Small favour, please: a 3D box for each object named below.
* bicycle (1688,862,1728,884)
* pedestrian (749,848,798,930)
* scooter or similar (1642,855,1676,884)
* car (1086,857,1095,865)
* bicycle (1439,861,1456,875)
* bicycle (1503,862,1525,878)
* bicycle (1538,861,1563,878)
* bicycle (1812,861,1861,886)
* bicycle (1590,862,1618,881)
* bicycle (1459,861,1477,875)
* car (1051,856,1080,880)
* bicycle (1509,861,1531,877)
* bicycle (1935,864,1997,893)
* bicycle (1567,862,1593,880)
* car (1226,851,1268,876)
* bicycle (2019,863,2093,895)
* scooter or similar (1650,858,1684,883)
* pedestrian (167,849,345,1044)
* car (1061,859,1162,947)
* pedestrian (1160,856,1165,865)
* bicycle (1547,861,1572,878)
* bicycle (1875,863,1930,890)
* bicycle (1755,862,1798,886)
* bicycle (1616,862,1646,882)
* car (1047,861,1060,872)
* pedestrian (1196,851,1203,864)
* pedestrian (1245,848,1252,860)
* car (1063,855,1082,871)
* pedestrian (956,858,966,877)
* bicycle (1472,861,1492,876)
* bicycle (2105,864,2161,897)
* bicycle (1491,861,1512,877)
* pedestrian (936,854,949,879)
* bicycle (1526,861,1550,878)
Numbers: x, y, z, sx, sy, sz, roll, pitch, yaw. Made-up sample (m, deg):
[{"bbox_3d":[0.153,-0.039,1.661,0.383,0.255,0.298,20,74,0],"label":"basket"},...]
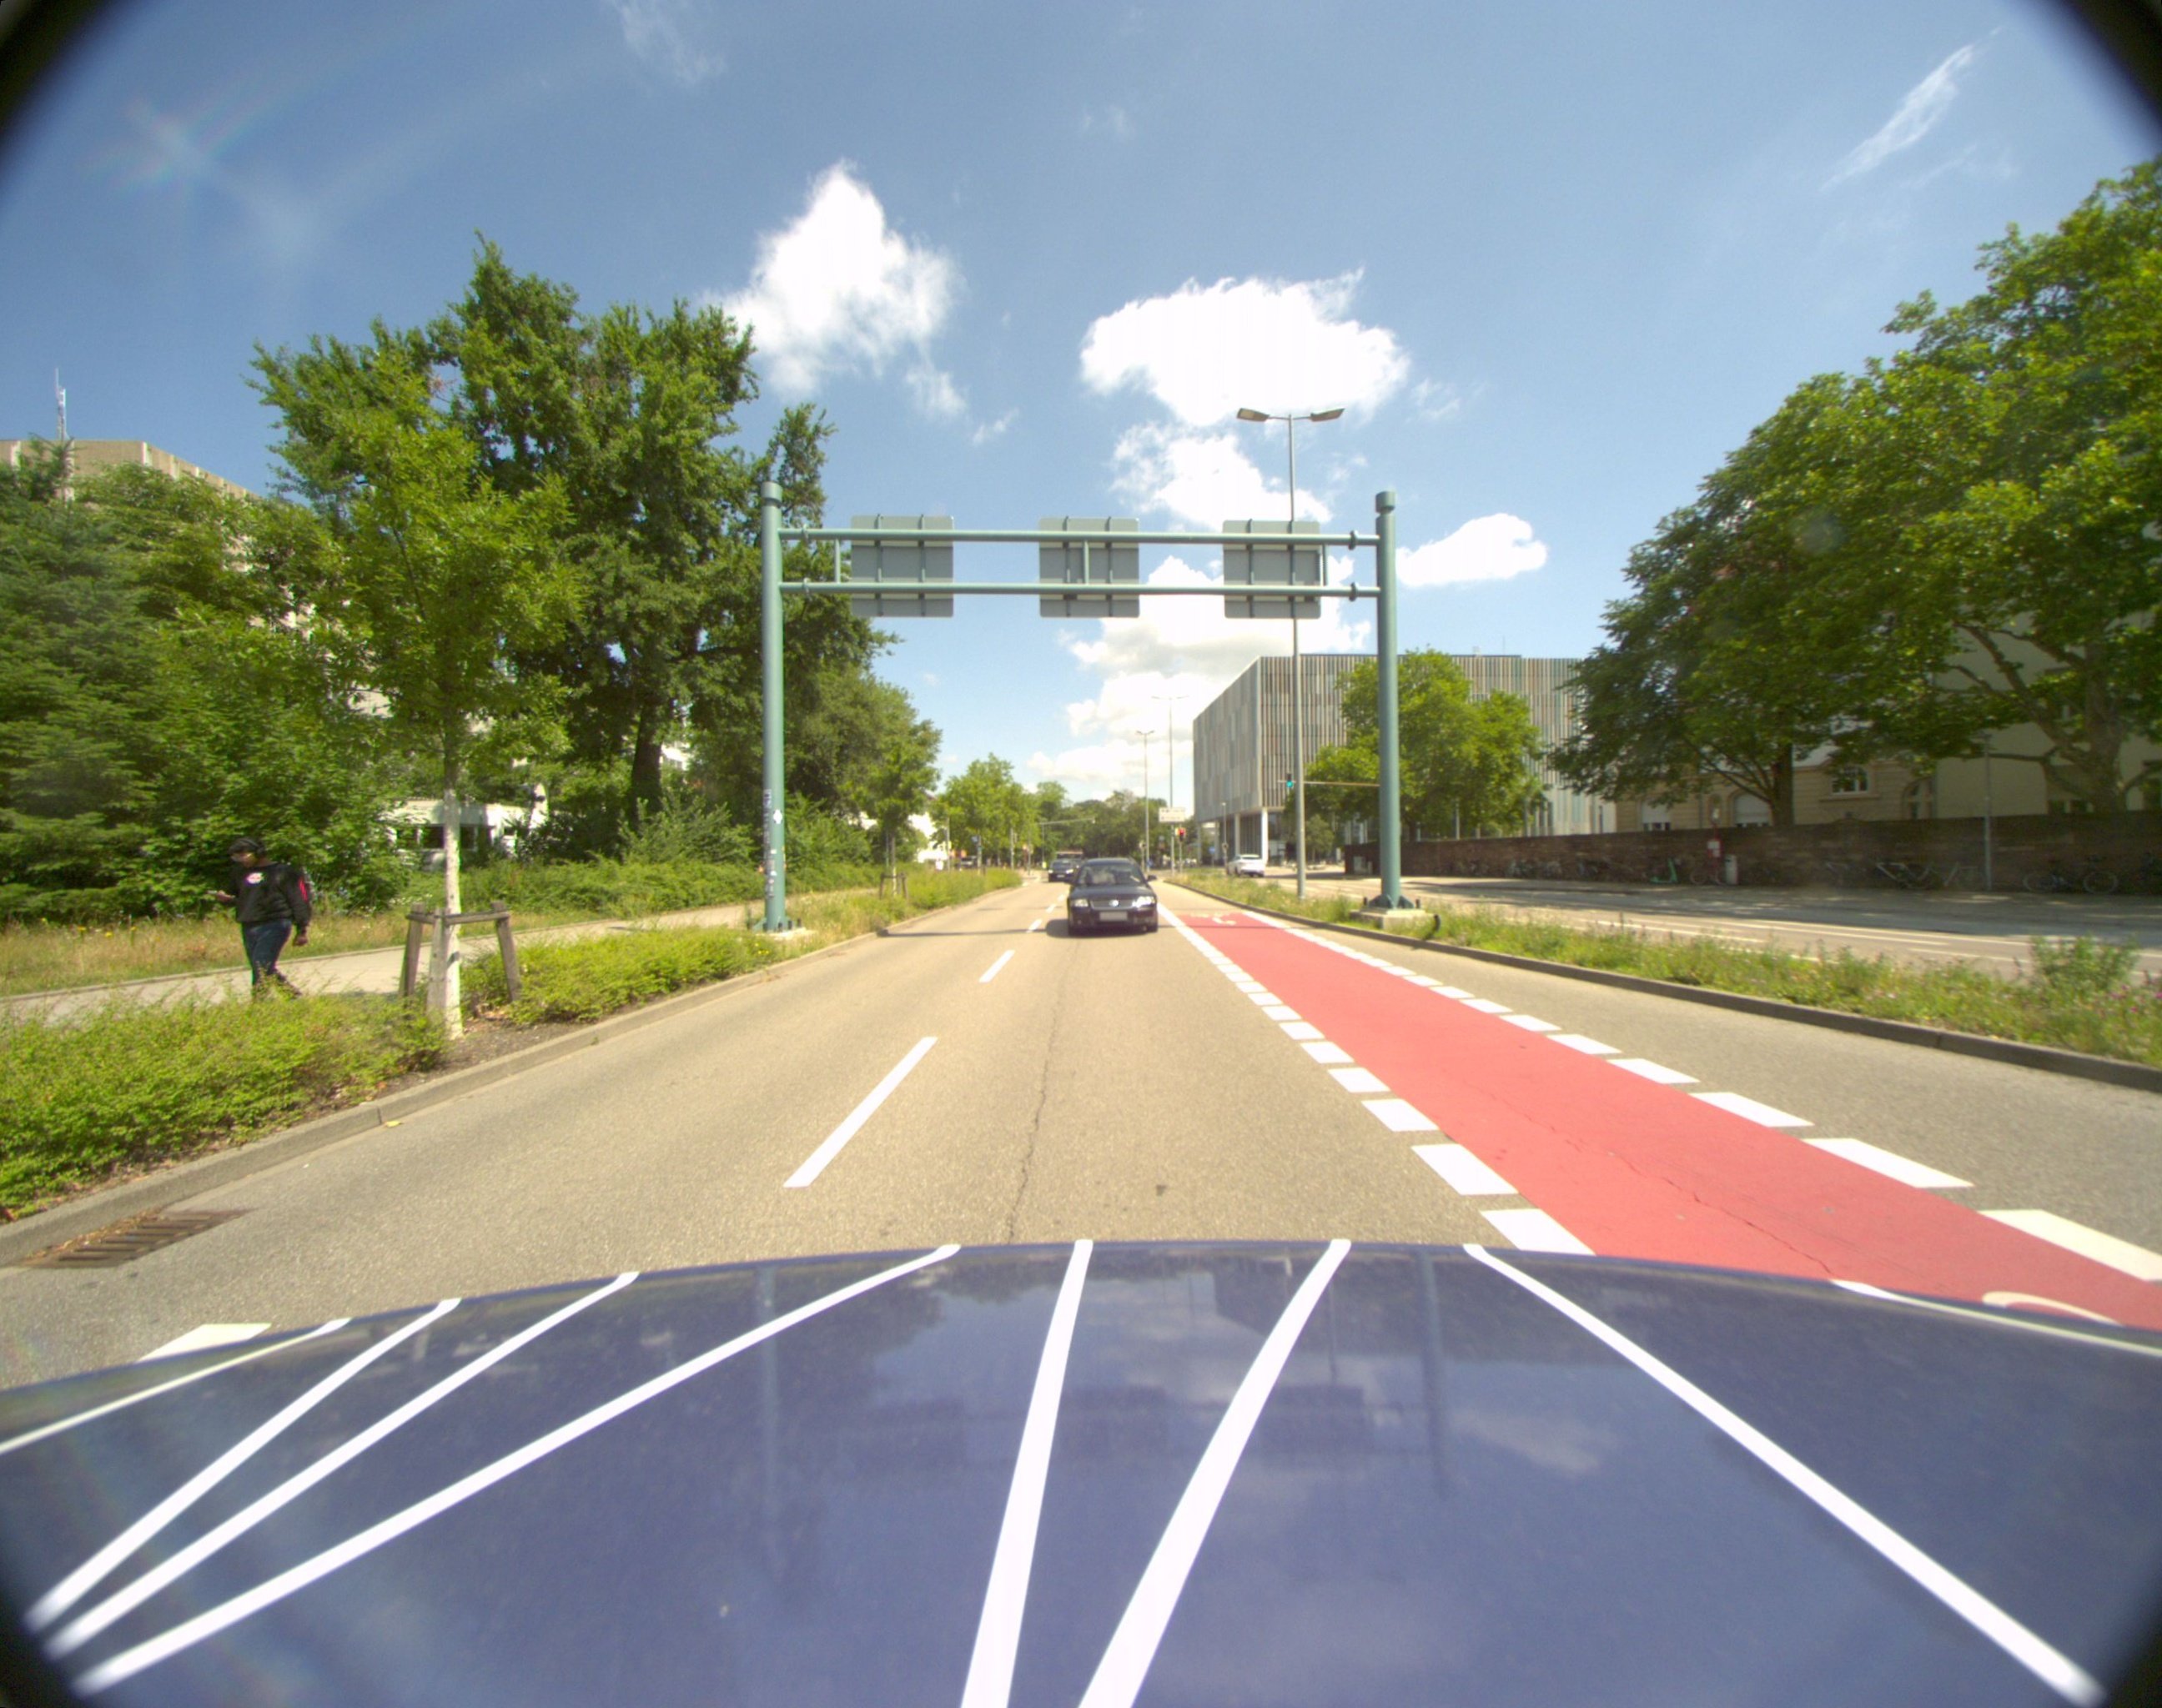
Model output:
[{"bbox_3d":[24.809,0.746,30.088,0.265,0.826,1.233,-1,0,-21],"label":"bicycle"},{"bbox_3d":[-6.753,0.746,16.726,0.639,1.754,0.887,-1,0,7],"label":"pedestrian"},{"bbox_3d":[23.796,0.629,31.299,0.265,1.182,1.234,-1,0,-11],"label":"scooter or similar"},{"bbox_3d":[1.968,1.365,153.339,1.723,1.545,4.594,-3,0,1],"label":"car"},{"bbox_3d":[22.478,0.851,46.656,0.265,0.826,1.235,-1,0,-11],"label":"bicycle"},{"bbox_3d":[22.842,0.817,40.091,0.265,0.826,1.234,-1,0,-11],"label":"bicycle"},{"bbox_3d":[23.175,0.756,37.533,0.265,0.826,1.234,-1,0,-11],"label":"bicycle"},{"bbox_3d":[25.699,0.650,25.863,0.265,0.826,1.235,-1,0,-11],"label":"bicycle"},{"bbox_3d":[24.011,0.790,34.921,0.265,0.826,1.235,-1,0,-11],"label":"bicycle"},{"bbox_3d":[22.796,0.831,44.761,0.265,0.826,1.235,-1,0,-11],"label":"bicycle"},{"bbox_3d":[-1.082,0.973,53.913,1.816,1.598,4.479,-3,0,1],"label":"car"},{"bbox_3d":[23.349,0.797,40.415,0.265,0.826,1.234,-1,0,-11],"label":"bicycle"},{"bbox_3d":[26.234,0.727,22.536,0.265,0.826,1.235,-1,0,-11],"label":"bicycle"},{"bbox_3d":[23.802,0.787,36.255,0.265,0.826,1.235,-1,0,-11],"label":"bicycle"},{"bbox_3d":[11.821,0.671,54.435,1.999,1.701,4.512,-1,0,-1],"label":"car"},{"bbox_3d":[26.642,0.674,20.784,0.265,0.826,1.234,-1,0,-13],"label":"bicycle"},{"bbox_3d":[24.565,0.691,31.858,0.266,1.014,1.140,-1,0,-22],"label":"scooter or similar"},{"bbox_3d":[-7.577,0.804,7.013,0.760,1.674,0.817,-1,0,12],"label":"pedestrian"},{"bbox_3d":[0.569,0.874,15.682,1.723,1.472,4.594,-3,0,1],"label":"car"},{"bbox_3d":[15.809,1.287,147.211,0.864,1.647,0.995,-1,0,-1],"label":"pedestrian"},{"bbox_3d":[23.643,0.756,37.527,0.265,0.826,1.235,-1,0,-11],"label":"bicycle"},{"bbox_3d":[25.975,0.706,24.047,0.265,0.826,1.235,-1,0,-11],"label":"bicycle"},{"bbox_3d":[25.179,0.713,27.528,0.265,0.826,1.235,-1,0,-11],"label":"bicycle"},{"bbox_3d":[24.138,0.777,33.378,0.265,0.826,1.235,-1,0,-11],"label":"bicycle"},{"bbox_3d":[-4.349,1.962,122.137,1.816,1.598,4.479,-3,0,1],"label":"car"},{"bbox_3d":[17.756,0.496,113.448,0.864,2.002,0.995,-1,0,-1],"label":"pedestrian"},{"bbox_3d":[27.071,0.014,122.801,0.864,2.002,0.995,-1,0,0],"label":"pedestrian"},{"bbox_3d":[-0.898,0.965,82.238,1.816,1.598,4.479,-3,0,1],"label":"car"},{"bbox_3d":[-10.039,1.109,63.546,0.767,1.601,0.765,-1,0,-4],"label":"pedestrian"},{"bbox_3d":[22.917,0.822,43.437,0.265,0.826,1.234,-1,0,-11],"label":"bicycle"},{"bbox_3d":[27.119,0.675,19.354,0.265,0.826,1.234,-1,0,-13],"label":"bicycle"},{"bbox_3d":[23.142,0.825,41.810,0.265,0.826,1.234,-1,0,-11],"label":"bicycle"},{"bbox_3d":[-11.526,1.035,63.366,0.847,2.026,0.900,-1,0,-22],"label":"pedestrian"},{"bbox_3d":[23.458,0.794,39.005,0.265,0.826,1.235,-1,0,-11],"label":"bicycle"}]
